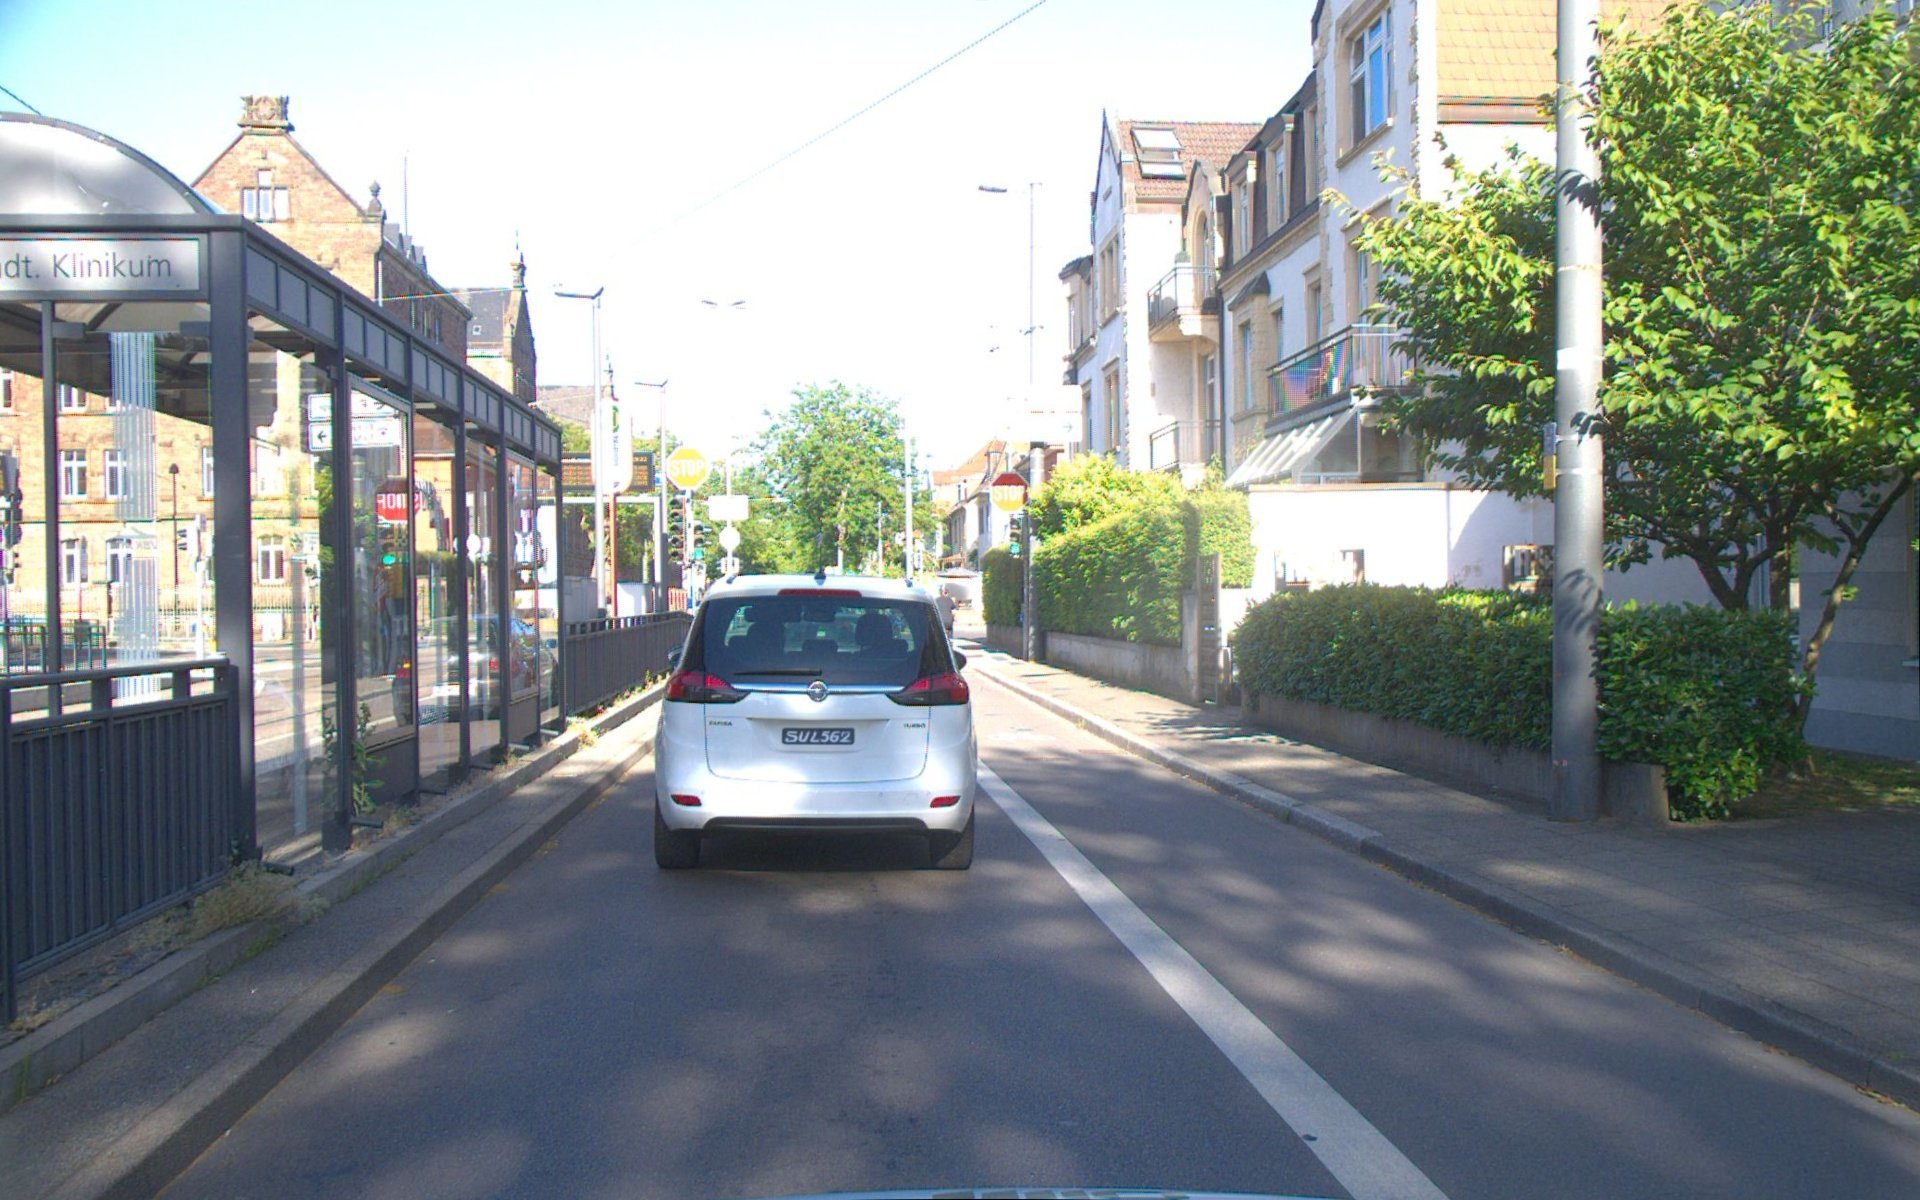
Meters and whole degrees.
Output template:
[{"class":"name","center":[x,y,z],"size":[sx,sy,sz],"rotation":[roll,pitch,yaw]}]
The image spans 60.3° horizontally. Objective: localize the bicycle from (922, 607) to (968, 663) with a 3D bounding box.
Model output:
[{"class":"bicycle","center":[-0.331,0.731,35.429],"size":[0.813,1.175,2.092],"rotation":[0,0,-5]}]

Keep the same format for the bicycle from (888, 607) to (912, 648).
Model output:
[{"class":"bicycle","center":[-1.770,0.804,48.792],"size":[0.672,1.177,1.618],"rotation":[0,0,-2]}]

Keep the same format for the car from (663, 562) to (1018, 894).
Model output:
[{"class":"car","center":[-0.742,0.656,10.396],"size":[1.799,1.670,3.915],"rotation":[0,0,-4]}]

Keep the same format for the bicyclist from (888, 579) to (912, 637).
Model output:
[{"class":"bicyclist","center":[-1.770,0.231,48.690],"size":[0.672,1.663,1.015],"rotation":[0,0,-3]}]

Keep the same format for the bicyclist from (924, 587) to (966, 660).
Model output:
[{"class":"bicyclist","center":[-0.330,0.494,35.432],"size":[0.805,1.528,0.933],"rotation":[0,0,-6]}]

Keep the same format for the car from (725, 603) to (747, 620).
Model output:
[{"class":"car","center":[-19.562,0.981,144.642],"size":[1.549,1.466,3.582],"rotation":[0,0,-3]}]

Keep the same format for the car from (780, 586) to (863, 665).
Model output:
[{"class":"car","center":[-3.083,0.547,36.955],"size":[1.741,1.660,3.876],"rotation":[0,0,-5]}]

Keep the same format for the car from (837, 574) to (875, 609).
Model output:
[{"class":"car","center":[-4.980,-0.392,79.555],"size":[1.740,1.660,3.879],"rotation":[0,0,-2]}]
